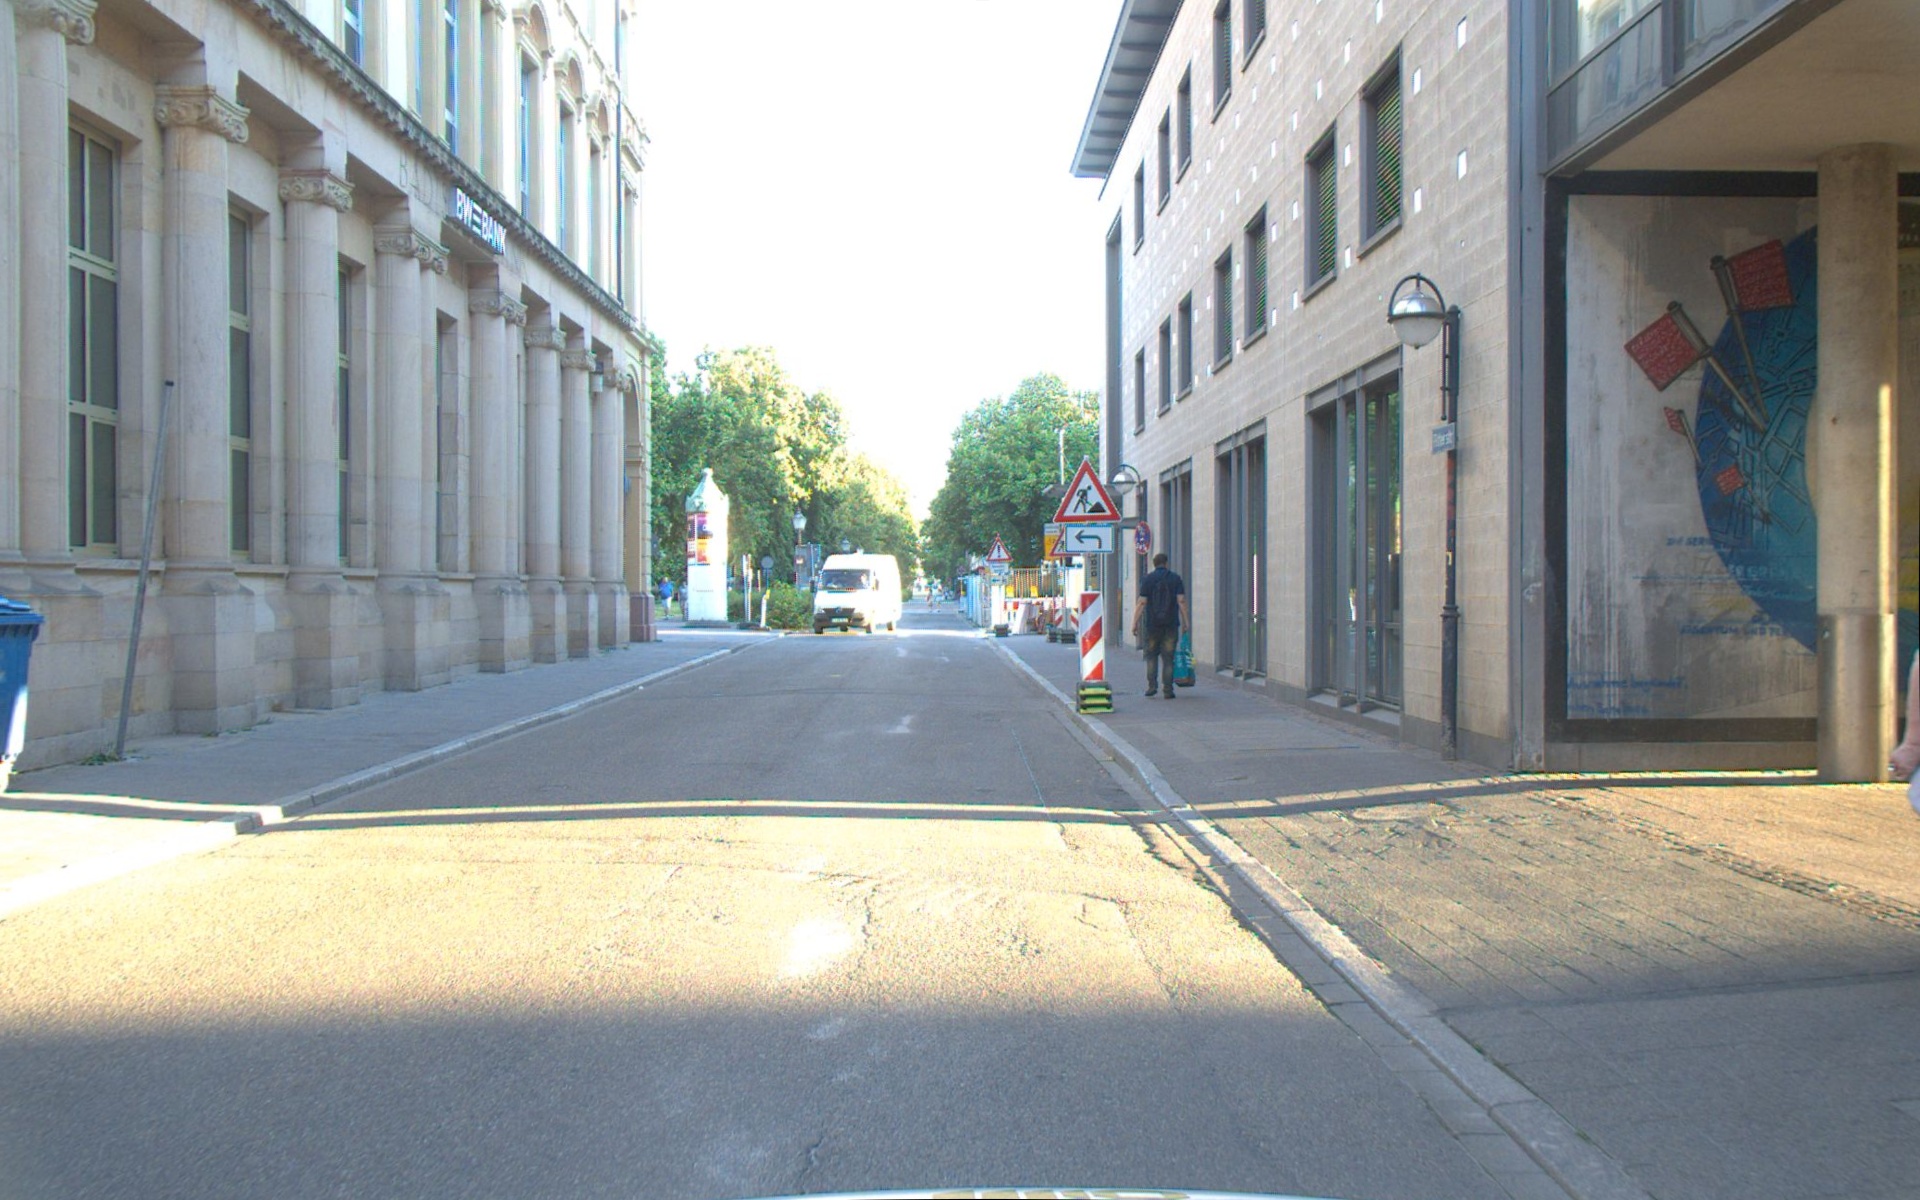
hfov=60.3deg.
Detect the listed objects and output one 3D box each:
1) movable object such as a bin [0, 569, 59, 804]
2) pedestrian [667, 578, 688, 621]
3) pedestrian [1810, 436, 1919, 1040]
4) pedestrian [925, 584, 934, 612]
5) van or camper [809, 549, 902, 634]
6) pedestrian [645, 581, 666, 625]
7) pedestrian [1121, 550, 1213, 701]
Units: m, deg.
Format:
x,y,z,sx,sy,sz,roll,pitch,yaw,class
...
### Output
x,y,z,sx,sy,sz,roll,pitch,yaw,class
-6.645,0.562,10.807,0.812,1.529,1.291,0,0,0,movable object such as a bin
-12.102,-0.016,70.843,0.835,1.839,0.661,0,0,-14,pedestrian
3.312,0.409,5.127,0.828,1.834,0.897,-3,0,3,pedestrian
-2.212,-0.147,118.809,0.570,2.049,0.680,0,0,-9,pedestrian
-3.330,-0.288,54.131,2.172,2.630,6.376,0,0,4,van or camper
-13.008,0.124,70.602,0.835,1.839,0.661,0,0,-14,pedestrian
2.591,0.320,20.825,0.980,1.835,0.881,-1,-1,-2,pedestrian
